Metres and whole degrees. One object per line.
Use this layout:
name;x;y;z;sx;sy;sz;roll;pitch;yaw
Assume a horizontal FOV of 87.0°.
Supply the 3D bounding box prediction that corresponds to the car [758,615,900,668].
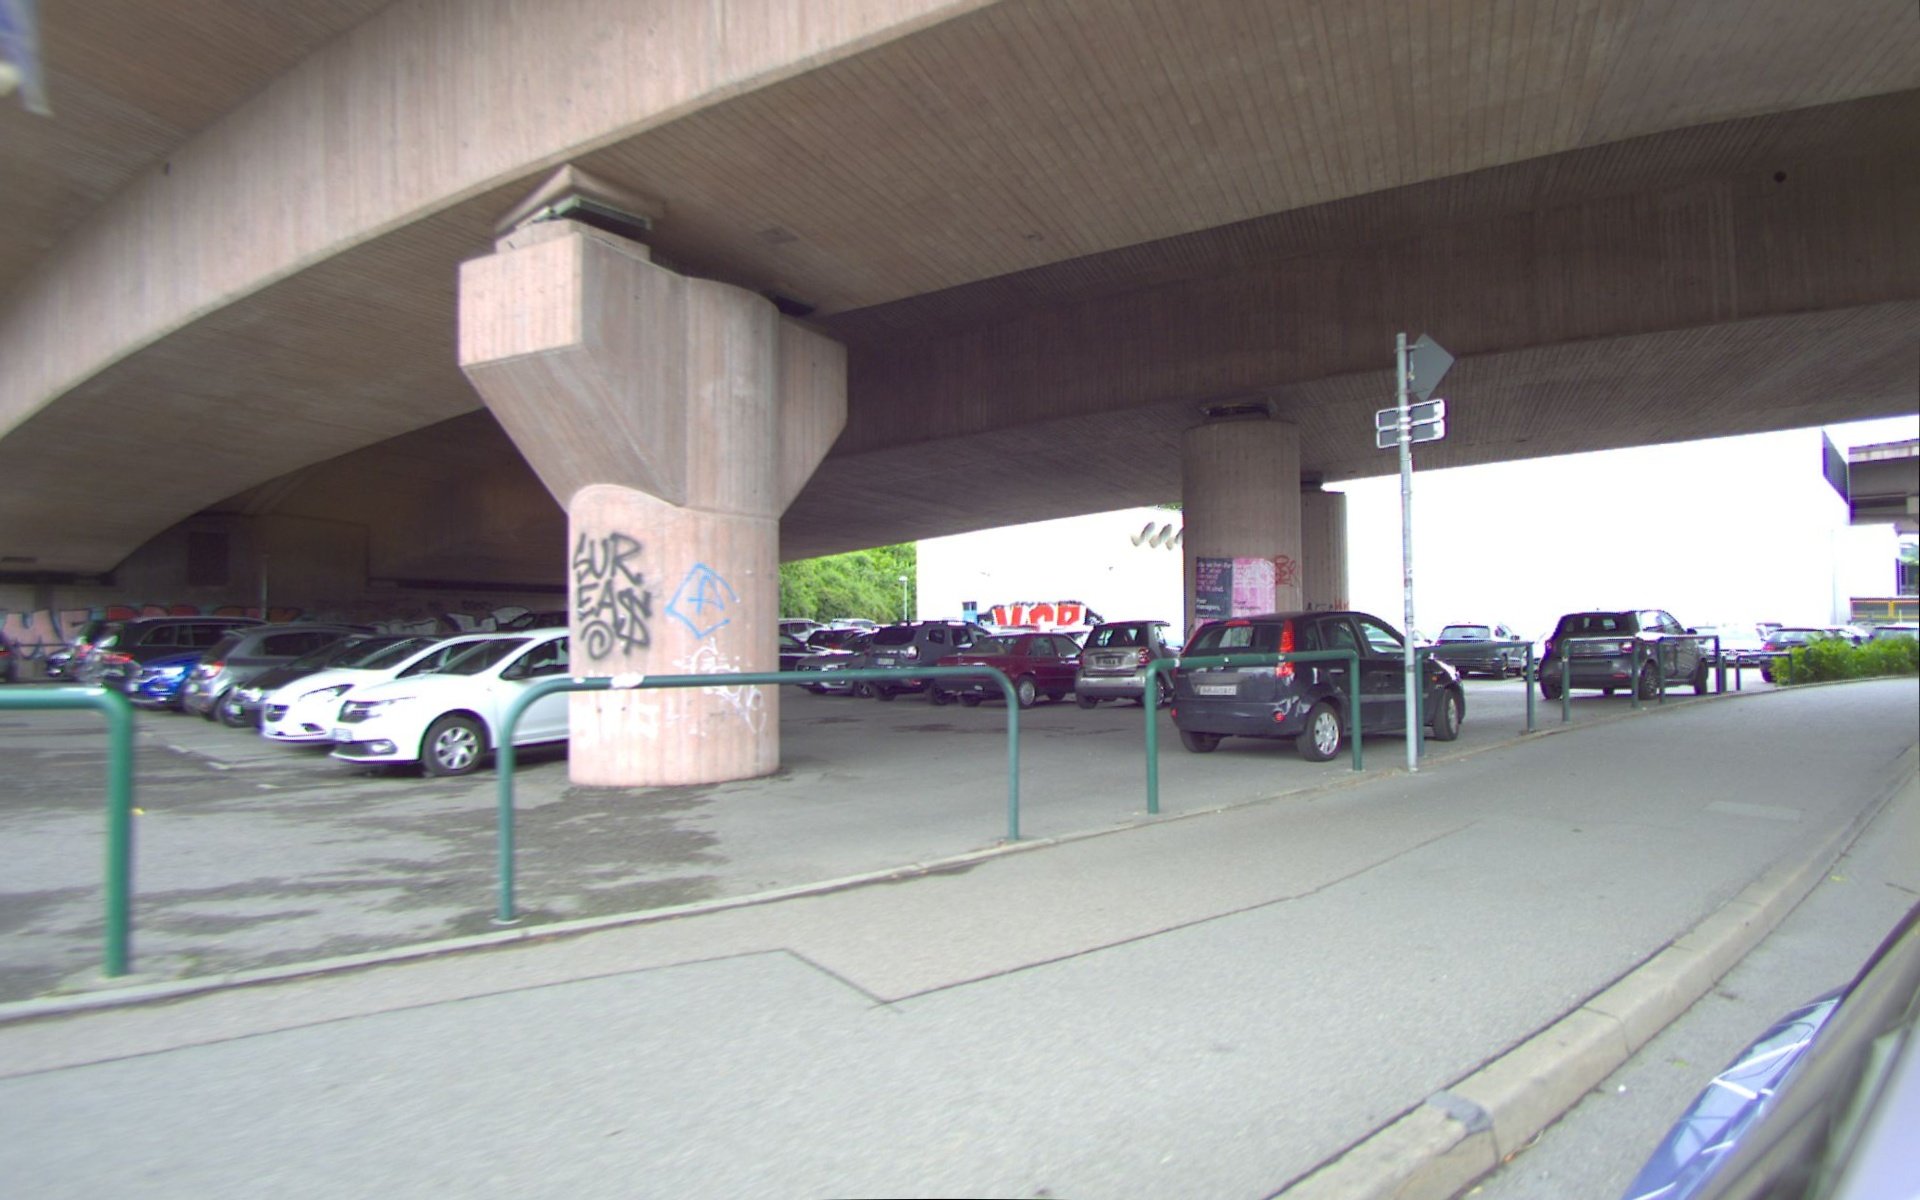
car;-3.925;1.219;30.856;1.831;1.484;4.127;-1;-2;42

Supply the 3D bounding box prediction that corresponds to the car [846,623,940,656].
car;-2.988;1.739;45.724;1.831;1.427;4.127;-1;-2;42

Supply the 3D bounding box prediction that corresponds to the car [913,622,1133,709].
car;1.306;1.199;19.671;4.306;1.489;1.833;1;-3;-44

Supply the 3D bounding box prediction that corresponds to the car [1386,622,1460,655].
car;21.148;1.707;46.169;1.778;1.410;4.367;-1;-2;43

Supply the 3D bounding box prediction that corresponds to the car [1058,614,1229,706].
car;3.425;1.051;18.547;1.524;1.519;3.323;-4;-4;42

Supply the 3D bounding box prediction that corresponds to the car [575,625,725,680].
car;-8.844;1.456;29.066;1.672;1.445;3.802;-1;-2;42

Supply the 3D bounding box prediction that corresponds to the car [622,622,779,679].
car;-7.025;1.321;27.626;1.831;1.445;3.802;-1;-2;42

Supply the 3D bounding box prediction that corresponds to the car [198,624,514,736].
car;-9.082;1.115;15.499;1.687;1.462;3.812;-1;-2;36

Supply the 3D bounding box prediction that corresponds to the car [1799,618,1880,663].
car;31.402;1.404;36.077;1.853;1.494;4.610;-2;-2;45

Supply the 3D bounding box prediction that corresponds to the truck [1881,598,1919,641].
truck;67.248;1.336;68.555;2.997;2.970;6.917;2;-2;-41

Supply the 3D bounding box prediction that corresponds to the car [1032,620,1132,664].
car;4.800;1.587;39.365;1.831;1.613;4.127;-1;-2;42

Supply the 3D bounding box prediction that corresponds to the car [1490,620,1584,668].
car;19.034;1.407;33.304;1.750;1.467;4.390;-1;-2;42

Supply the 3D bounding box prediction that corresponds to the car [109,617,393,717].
car;-12.527;1.093;18.087;1.747;1.575;3.812;-1;-2;36

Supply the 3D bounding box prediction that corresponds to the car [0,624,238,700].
car;-18.078;1.250;21.763;1.747;1.457;3.812;-1;-2;36

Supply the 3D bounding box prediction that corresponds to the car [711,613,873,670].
car;-5.377;1.289;32.901;2.083;1.699;5.028;-1;-2;42

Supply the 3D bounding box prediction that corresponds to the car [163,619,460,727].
car;-10.615;1.107;16.819;1.687;1.575;3.812;-1;-2;36

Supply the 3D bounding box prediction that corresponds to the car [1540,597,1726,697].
car;11.642;0.789;17.468;3.347;1.553;1.610;1;-3;-37

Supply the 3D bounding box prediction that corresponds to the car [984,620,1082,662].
car;2.980;1.622;40.896;1.831;1.613;4.127;-1;-2;42

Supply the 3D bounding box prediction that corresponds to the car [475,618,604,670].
car;-13.946;1.409;33.692;1.672;1.619;3.606;-1;-2;42

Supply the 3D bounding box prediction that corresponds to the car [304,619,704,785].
car;-5.110;1.017;11.795;1.631;1.572;3.954;-1;-1;39

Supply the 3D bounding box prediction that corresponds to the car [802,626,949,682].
car;-2.366;1.500;29.240;1.831;1.484;4.127;-1;-2;42

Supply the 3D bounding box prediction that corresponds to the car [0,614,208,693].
car;-19.946;1.162;23.374;1.747;1.659;3.812;-1;-2;36

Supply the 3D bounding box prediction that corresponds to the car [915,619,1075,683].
car;0.961;1.224;25.593;1.831;1.484;4.127;-1;-2;42

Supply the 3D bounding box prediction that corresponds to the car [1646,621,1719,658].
car;31.196;1.672;43.647;1.834;1.533;4.427;-2;-2;45

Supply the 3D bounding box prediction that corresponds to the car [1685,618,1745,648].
car;37.856;1.611;50.700;4.289;1.401;1.771;1;-1;-44

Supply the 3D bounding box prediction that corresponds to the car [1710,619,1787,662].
car;29.289;1.458;37.530;1.851;1.494;4.613;-1;-2;43

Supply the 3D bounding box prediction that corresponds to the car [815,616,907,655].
car;-4.575;1.622;47.230;1.831;1.710;4.127;-1;-2;42

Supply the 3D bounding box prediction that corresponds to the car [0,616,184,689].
car;-21.581;1.227;24.731;1.747;1.659;3.812;-1;-2;36

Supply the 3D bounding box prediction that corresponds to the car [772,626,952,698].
car;-2.131;1.321;22.677;1.831;1.445;3.802;-1;-2;42

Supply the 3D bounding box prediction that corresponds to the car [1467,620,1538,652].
car;25.944;1.687;48.339;1.834;1.444;4.369;-2;-2;45

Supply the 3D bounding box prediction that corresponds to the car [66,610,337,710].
car;-14.387;1.059;19.383;1.747;1.716;3.812;-1;-2;36

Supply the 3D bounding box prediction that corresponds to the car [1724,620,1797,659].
car;32.972;1.578;41.630;1.834;1.533;4.427;-2;-2;45

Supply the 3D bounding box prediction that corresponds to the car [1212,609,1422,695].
car;7.242;1.019;20.572;3.779;1.526;1.793;-1;-2;-24

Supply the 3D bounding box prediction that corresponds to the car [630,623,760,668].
car;-9.275;1.553;35.634;1.831;1.484;4.127;-1;-2;42

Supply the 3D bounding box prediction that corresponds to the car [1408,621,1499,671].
car;17.005;1.532;34.778;1.750;1.577;4.024;-1;-2;42

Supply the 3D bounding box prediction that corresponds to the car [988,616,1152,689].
car;2.694;1.183;24.125;1.831;1.570;4.127;-1;-2;42

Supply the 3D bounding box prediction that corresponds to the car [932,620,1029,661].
car;0.906;1.663;42.405;1.831;1.613;4.127;-1;-2;42

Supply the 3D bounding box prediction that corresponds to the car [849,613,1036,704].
car;-0.297;1.147;21.159;1.831;1.720;3.802;-1;-2;42

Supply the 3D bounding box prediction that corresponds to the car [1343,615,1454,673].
car;13.325;1.277;30.645;1.831;1.613;4.127;-1;-2;42

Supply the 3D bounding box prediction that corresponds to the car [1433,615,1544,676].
car;15.193;1.253;29.004;1.831;1.613;4.127;-1;-2;42

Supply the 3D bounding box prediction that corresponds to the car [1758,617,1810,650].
car;40.282;1.622;49.464;3.047;1.564;1.619;1;-1;-44

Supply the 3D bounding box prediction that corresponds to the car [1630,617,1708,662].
car;27.593;1.478;39.323;1.851;1.649;4.548;-1;-2;43

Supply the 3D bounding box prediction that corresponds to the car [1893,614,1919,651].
car;44.162;1.464;46.488;1.770;1.608;4.291;-1;-1;44

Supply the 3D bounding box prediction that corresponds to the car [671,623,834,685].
car;-5.283;1.328;26.074;1.831;1.445;3.802;-1;-2;42

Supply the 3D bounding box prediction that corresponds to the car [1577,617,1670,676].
car;20.613;1.386;31.357;1.739;1.697;4.401;-1;-2;42

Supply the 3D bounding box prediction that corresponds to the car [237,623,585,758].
car;-7.261;1.090;13.734;1.687;1.529;3.812;-1;-2;36

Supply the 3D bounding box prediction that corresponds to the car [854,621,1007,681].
car;-0.736;1.315;27.370;1.831;1.484;4.127;-1;-2;42

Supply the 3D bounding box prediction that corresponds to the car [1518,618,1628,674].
car;17.045;1.221;28.057;1.831;1.439;4.127;-1;-2;42

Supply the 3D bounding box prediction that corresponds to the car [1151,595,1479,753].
car;3.853;0.716;10.811;3.513;1.415;1.610;1;-3;-37

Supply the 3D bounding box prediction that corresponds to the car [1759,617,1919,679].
car;23.019;1.198;26.335;4.161;1.498;1.738;0;-1;-24

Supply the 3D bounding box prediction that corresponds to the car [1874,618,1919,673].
car;27.208;1.250;28.236;2.703;1.498;1.547;0;-1;-24

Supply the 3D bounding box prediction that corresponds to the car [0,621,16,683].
car;-25.401;1.306;25.939;1.720;1.518;3.990;1;-2;-43
